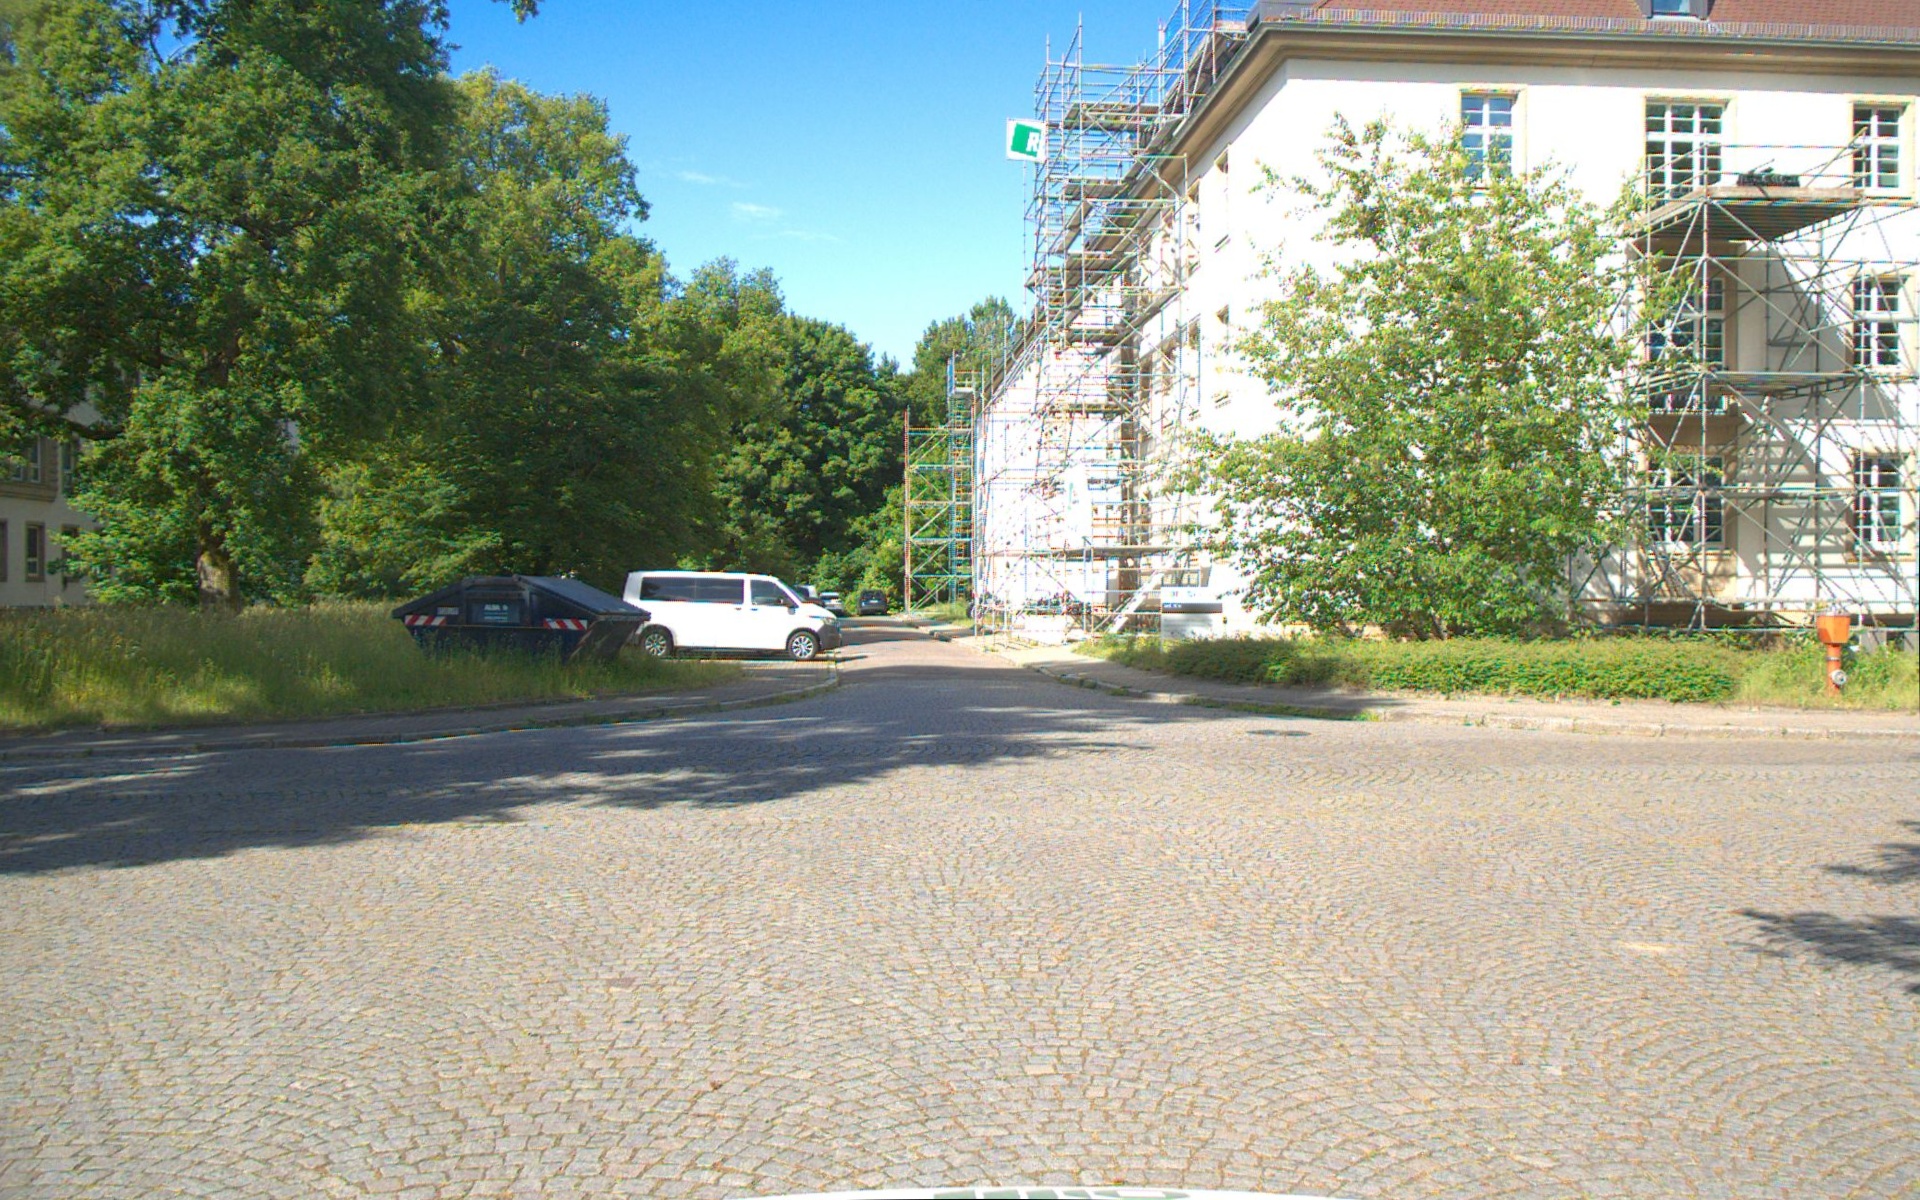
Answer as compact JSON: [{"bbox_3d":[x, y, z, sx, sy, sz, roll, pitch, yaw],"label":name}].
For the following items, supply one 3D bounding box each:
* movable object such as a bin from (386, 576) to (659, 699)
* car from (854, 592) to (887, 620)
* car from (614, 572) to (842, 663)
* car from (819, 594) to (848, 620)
[{"bbox_3d":[-6.668,0.561,25.377,3.489,1.775,2.026,-1,0,14],"label":"movable object such as a bin"},{"bbox_3d":[-5.684,0.357,105.118,1.932,1.697,4.081,-1,0,-5],"label":"car"},{"bbox_3d":[-5.348,0.393,38.633,5.133,2.051,1.948,0,0,-6],"label":"car"},{"bbox_3d":[-8.007,0.441,104.606,1.777,1.607,4.130,-1,0,-5],"label":"car"}]
